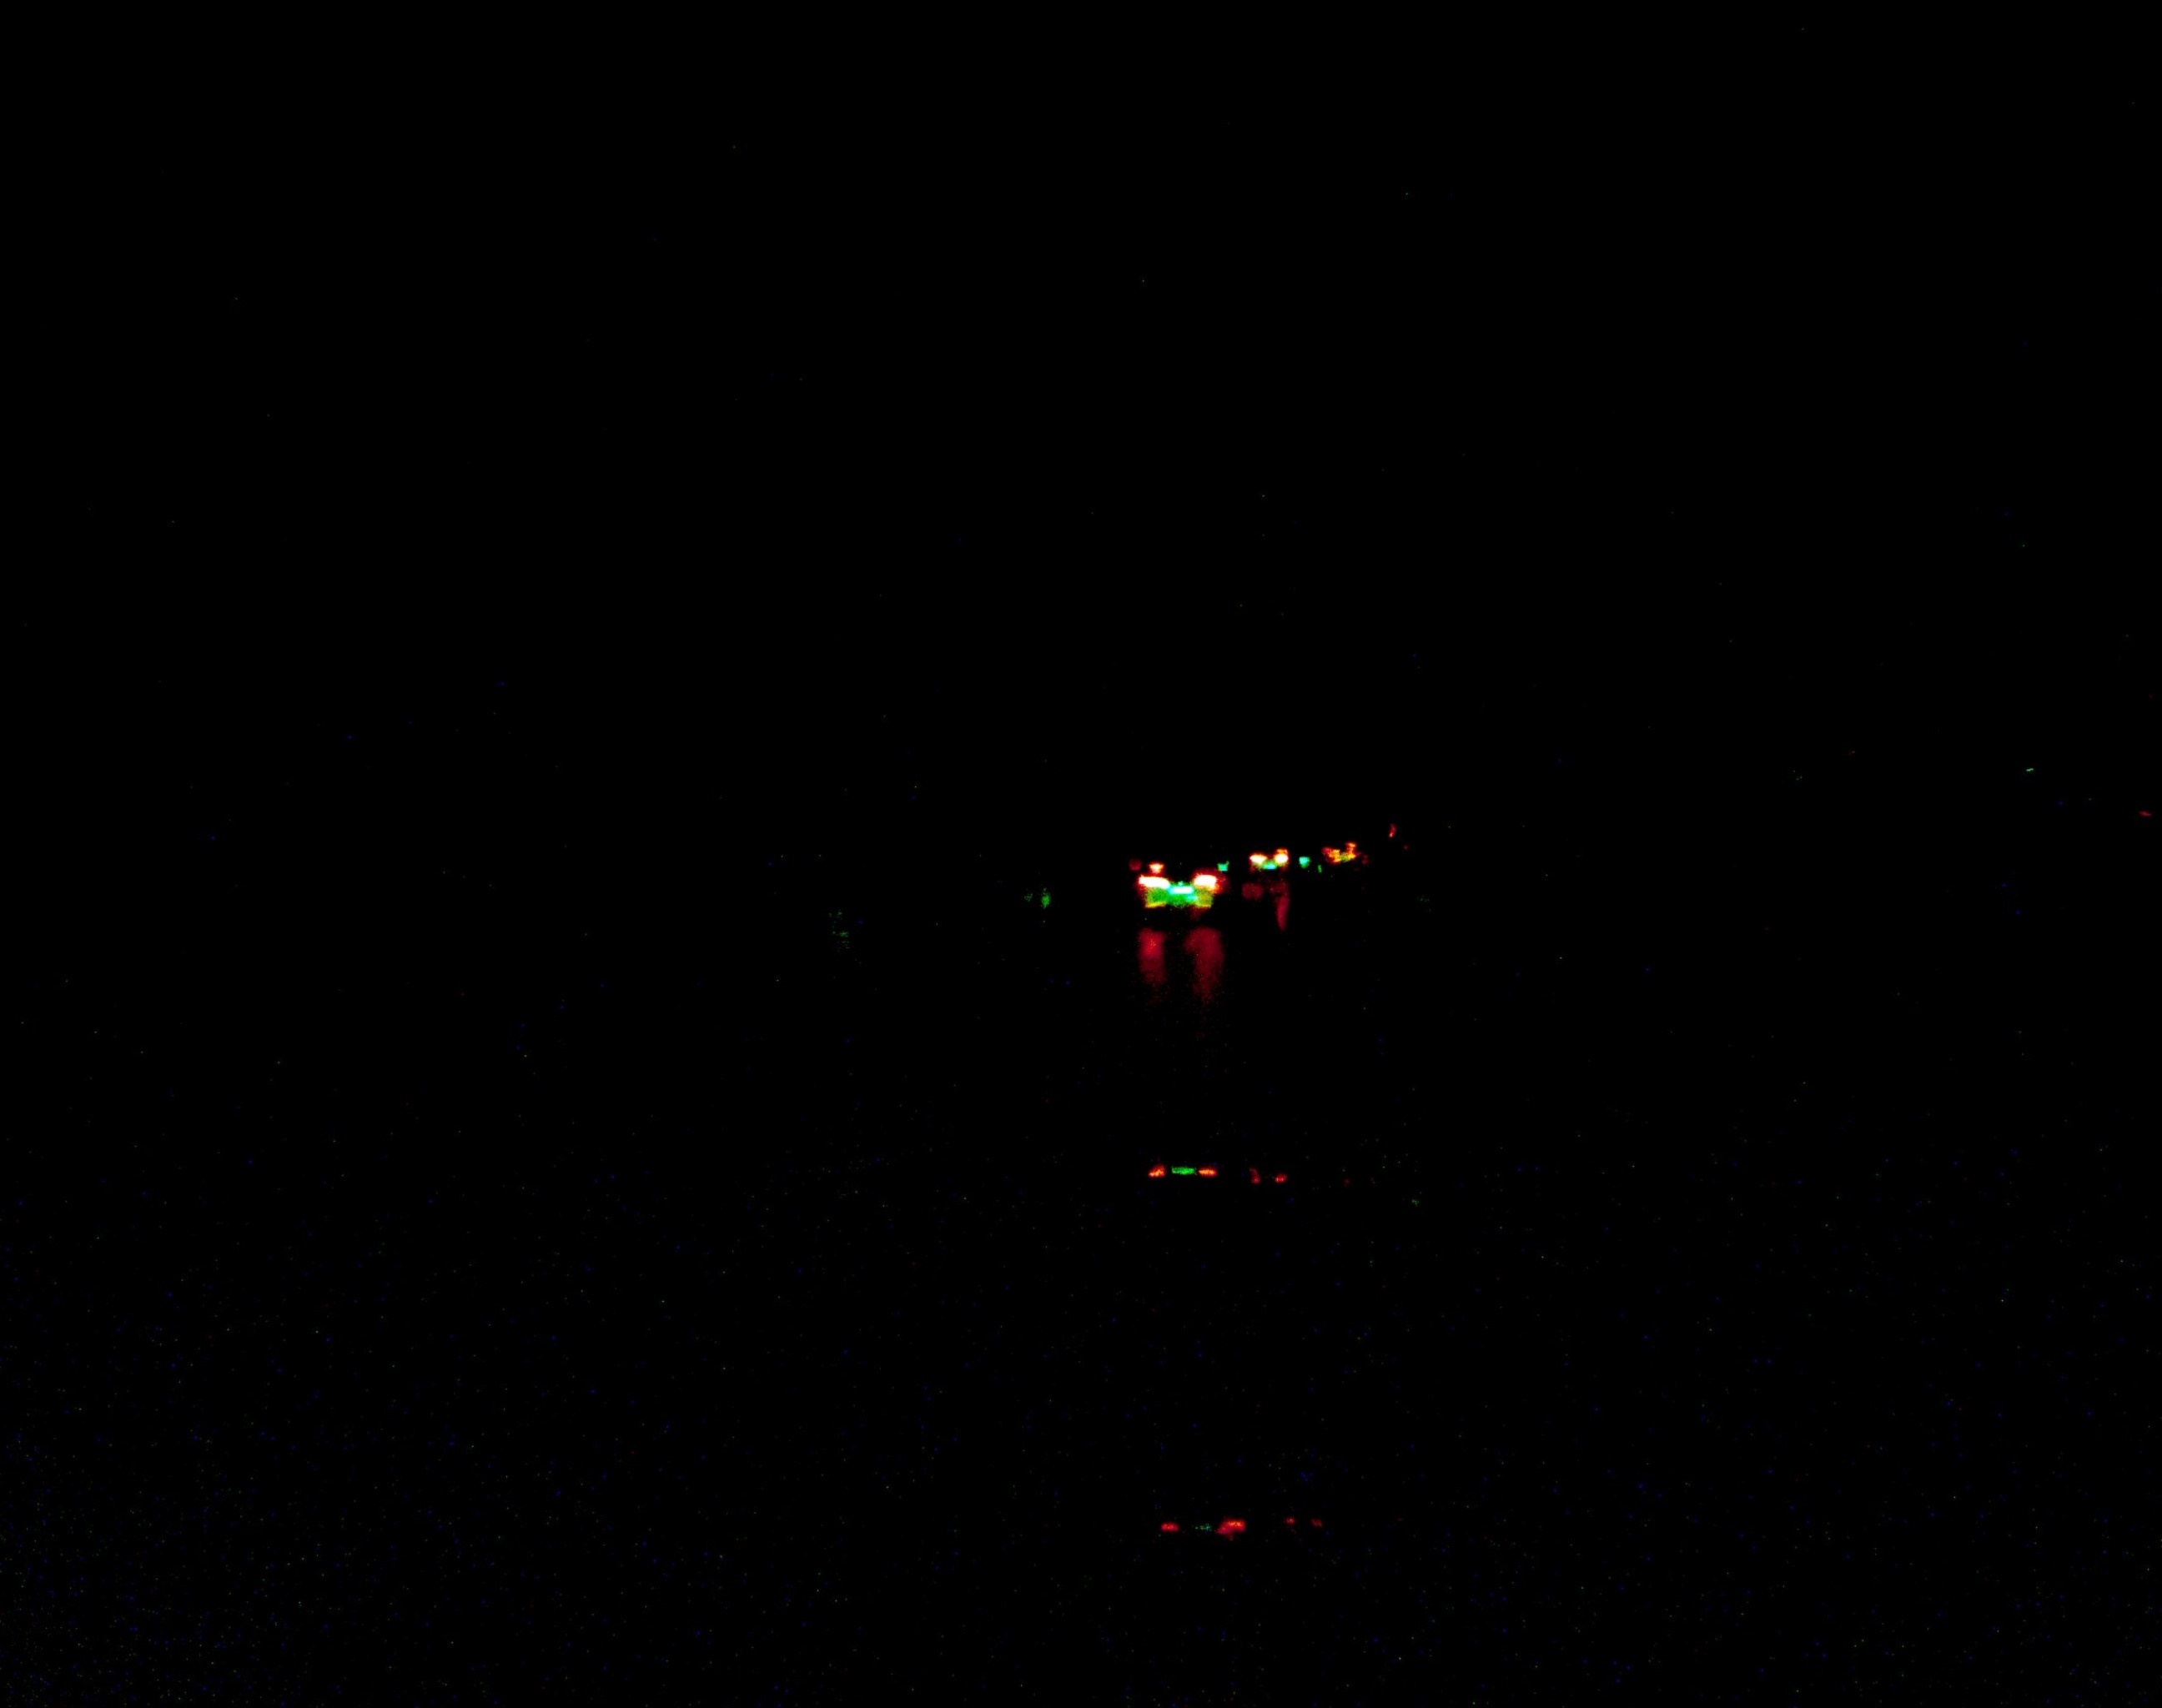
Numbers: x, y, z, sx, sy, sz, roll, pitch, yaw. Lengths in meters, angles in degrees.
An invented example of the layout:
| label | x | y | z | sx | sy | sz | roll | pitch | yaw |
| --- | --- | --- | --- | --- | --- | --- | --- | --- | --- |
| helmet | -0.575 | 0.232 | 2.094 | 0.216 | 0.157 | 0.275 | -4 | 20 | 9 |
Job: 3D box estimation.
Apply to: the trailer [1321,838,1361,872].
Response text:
| label | x | y | z | sx | sy | sz | roll | pitch | yaw |
| --- | --- | --- | --- | --- | --- | --- | --- | --- | --- |
| trailer | 17.958 | 0.172 | 55.883 | 2.060 | 2.014 | 10.700 | -5 | -3 | 20 |
